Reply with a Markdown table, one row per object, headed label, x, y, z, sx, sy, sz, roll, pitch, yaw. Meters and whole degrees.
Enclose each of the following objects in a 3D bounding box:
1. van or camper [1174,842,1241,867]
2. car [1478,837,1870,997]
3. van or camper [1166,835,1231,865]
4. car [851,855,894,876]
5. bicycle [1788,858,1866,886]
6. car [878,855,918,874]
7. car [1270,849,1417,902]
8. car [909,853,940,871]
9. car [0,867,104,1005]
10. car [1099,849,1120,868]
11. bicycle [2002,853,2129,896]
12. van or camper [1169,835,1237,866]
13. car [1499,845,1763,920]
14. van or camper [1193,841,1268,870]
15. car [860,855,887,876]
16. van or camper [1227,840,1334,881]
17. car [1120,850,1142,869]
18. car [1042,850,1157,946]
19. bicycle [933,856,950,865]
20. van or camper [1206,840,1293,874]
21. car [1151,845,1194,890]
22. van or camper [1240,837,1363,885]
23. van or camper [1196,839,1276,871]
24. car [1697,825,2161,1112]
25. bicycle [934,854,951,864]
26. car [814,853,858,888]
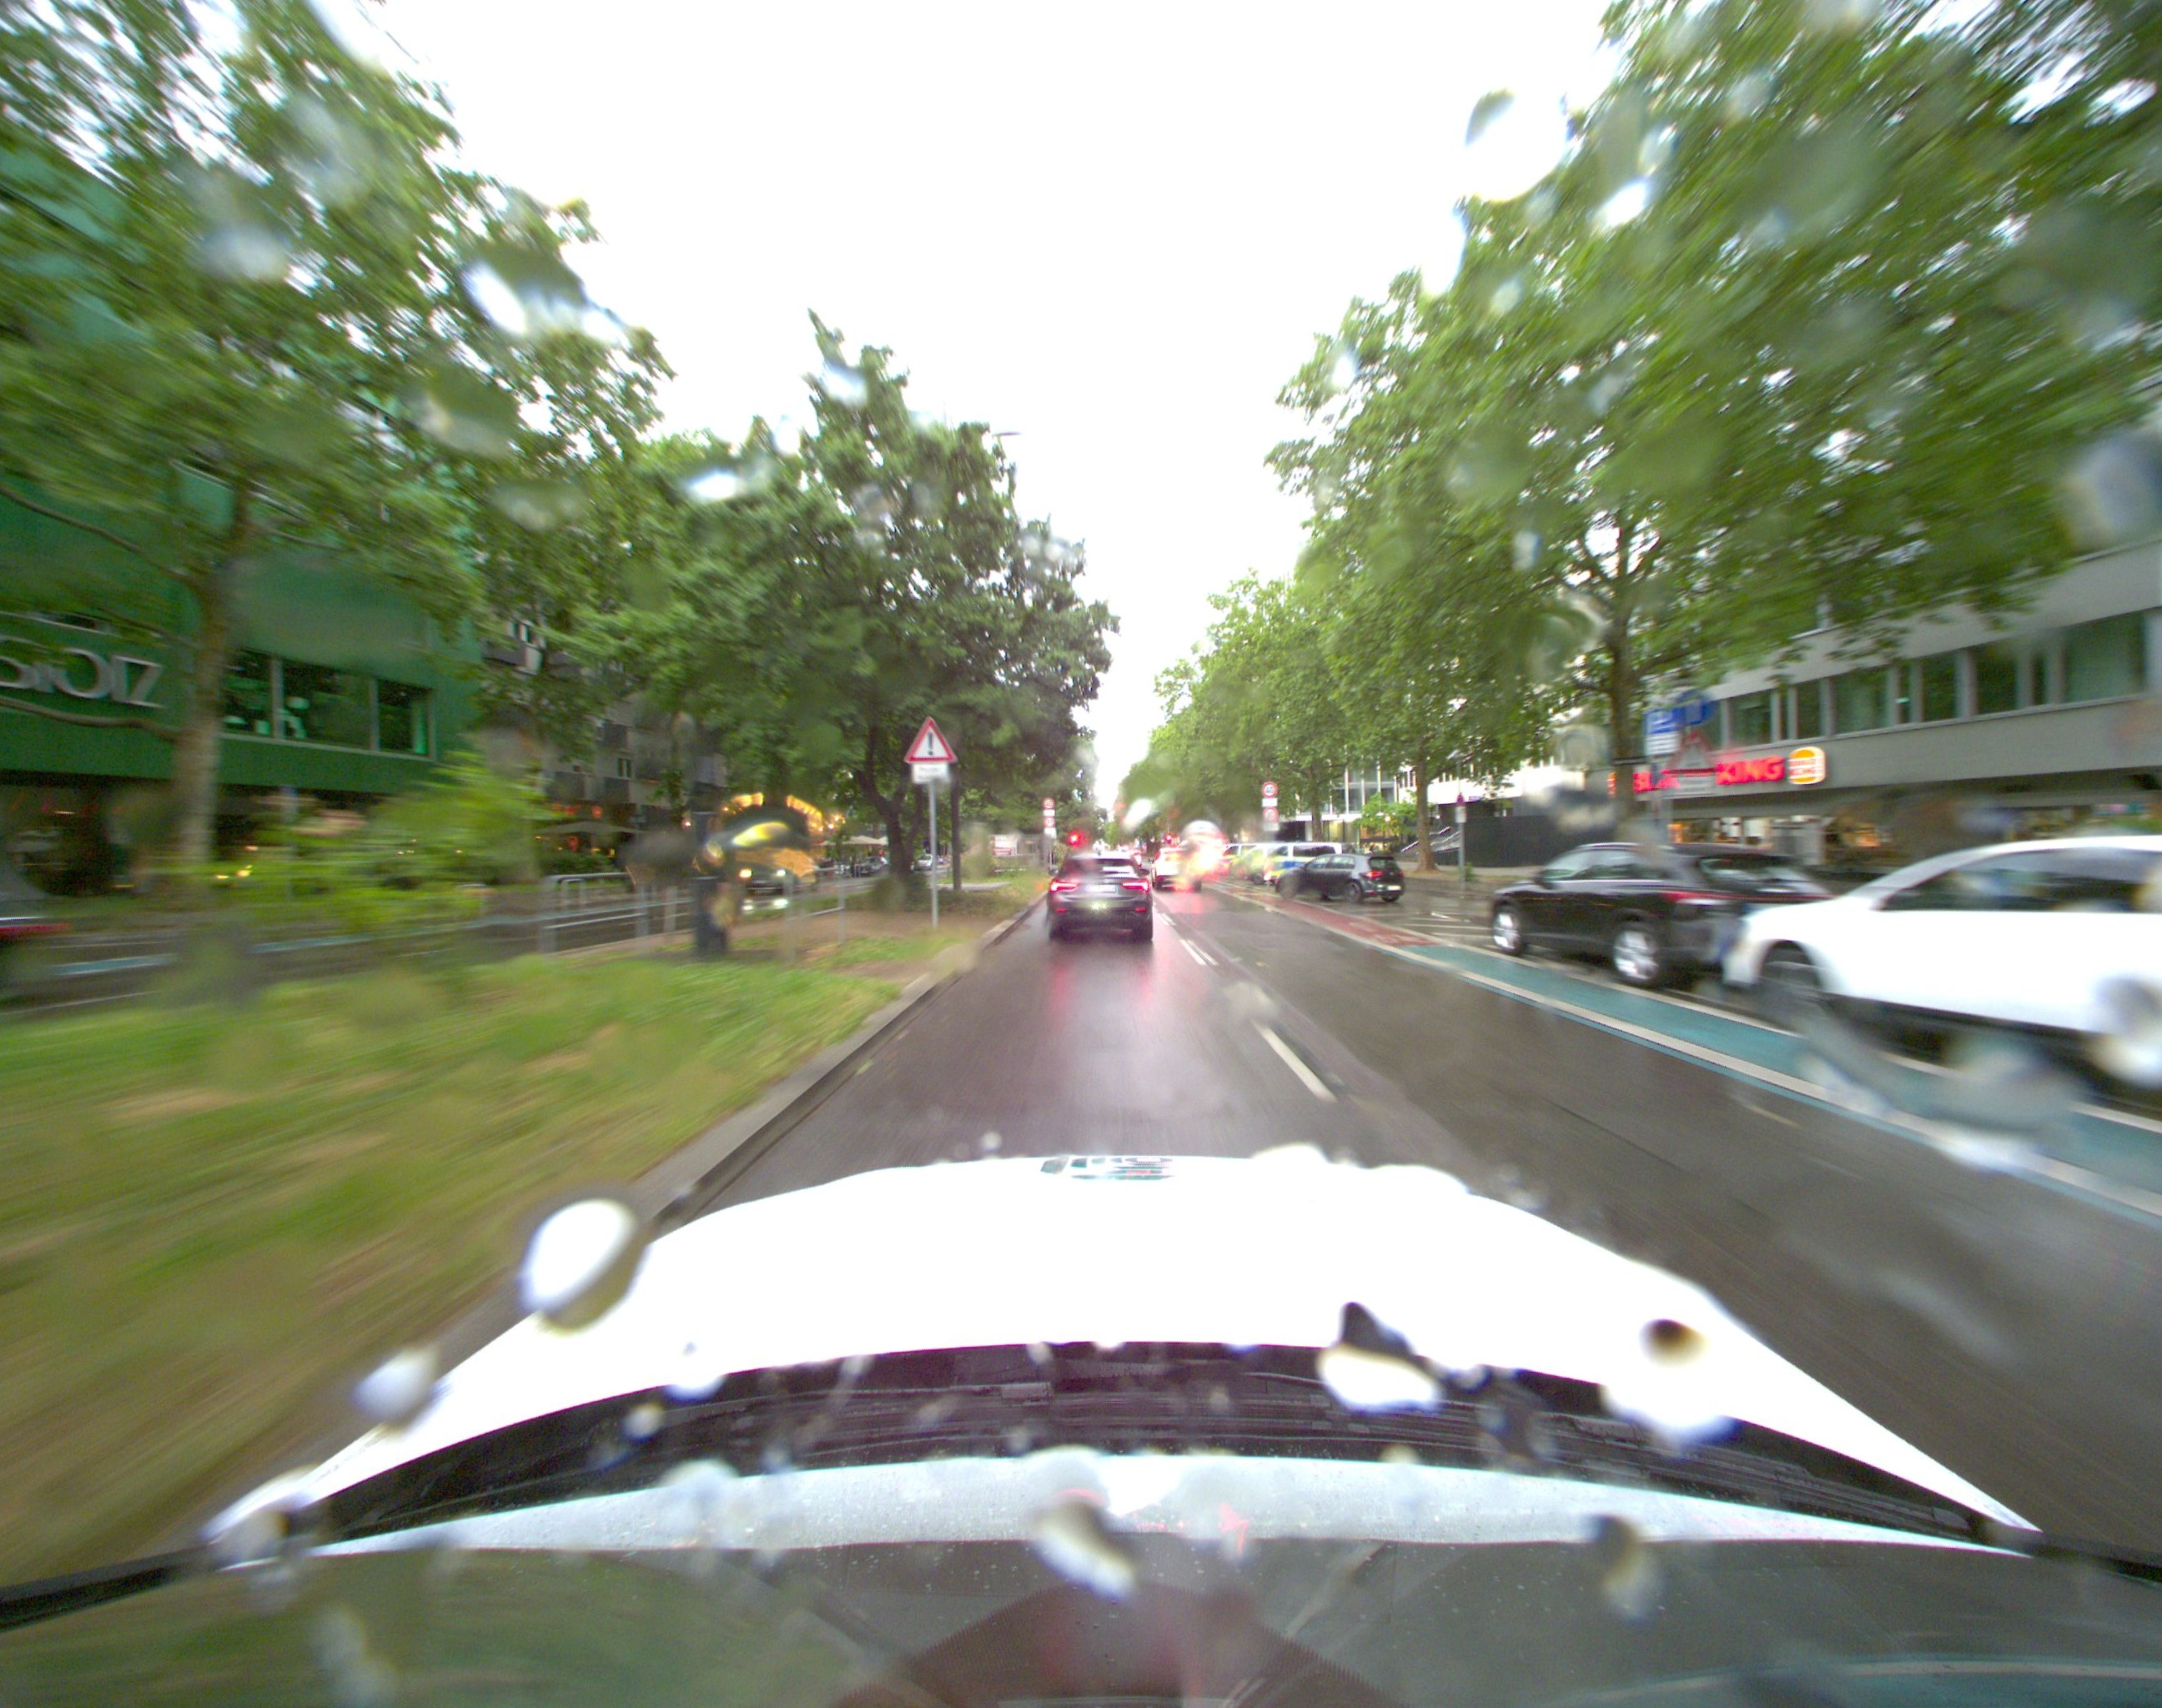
| label | x | y | z | sx | sy | sz | roll | pitch | yaw |
| --- | --- | --- | --- | --- | --- | --- | --- | --- | --- |
| van or camper | 10.391 | 0.078 | 67.220 | 5.142 | 1.992 | 2.013 | 0 | -1 | 36 |
| car | 7.019 | 0.623 | 10.362 | 1.787 | 1.603 | 4.423 | 0 | 0 | 0 |
| van or camper | 11.092 | -0.360 | 77.281 | 5.741 | 2.677 | 2.161 | -1 | 0 | 39 |
| car | -14.771 | 0.812 | 57.913 | 1.818 | 1.394 | 4.485 | -1 | 0 | 2 |
| bicycle | 24.031 | 0.562 | 26.285 | 0.640 | 0.819 | 1.909 | -1 | 0 | -7 |
| car | -14.519 | 0.802 | 64.885 | 1.986 | 1.370 | 4.541 | 1 | 0 | 1 |
| car | 7.737 | 0.599 | 24.340 | 1.777 | 1.413 | 3.959 | -2 | 0 | -32 |
| car | -14.425 | 0.715 | 75.415 | 1.987 | 1.509 | 4.516 | -2 | 0 | -1 |
| car | -12.893 | 0.923 | 7.460 | 1.985 | 1.491 | 4.761 | 0 | 0 | 3 |
| car | 2.375 | 0.369 | 69.286 | 1.715 | 1.577 | 3.962 | -1 | 0 | 1 |
| bicycle | 24.037 | 0.477 | 19.940 | 0.581 | 0.895 | 2.076 | -3 | 2 | -1 |
| van or camper | 10.996 | -0.292 | 73.831 | 5.736 | 2.680 | 2.013 | -1 | 0 | 36 |
| car | 11.932 | 0.600 | 17.937 | 1.876 | 1.445 | 4.458 | 4 | -2 | -37 |
| van or camper | 10.982 | 0.117 | 60.044 | 5.042 | 2.025 | 2.119 | -1 | 0 | 39 |
| car | -14.528 | 0.797 | 57.085 | 1.046 | 1.387 | 2.695 | -2 | 0 | 2 |
| van or camper | 10.318 | 0.289 | 42.367 | 5.023 | 2.019 | 2.010 | 0 | 0 | 38 |
| car | 4.737 | 0.485 | 77.451 | 1.986 | 1.750 | 4.002 | -1 | 0 | 2 |
| car | 0.406 | 0.706 | 15.620 | 1.856 | 1.532 | 4.530 | -1 | 0 | 3 |
| bicycle | -15.930 | 0.776 | 92.886 | 1.839 | 0.979 | 0.565 | -1 | 0 | -2 |
| van or camper | 10.196 | 0.189 | 49.485 | 4.792 | 1.998 | 1.880 | -1 | 0 | 38 |
| car | 3.634 | 0.489 | 32.627 | 1.428 | 1.685 | 2.980 | -2 | 0 | 2 |
| van or camper | 9.691 | 0.295 | 36.017 | 4.884 | 1.992 | 2.015 | 0 | 0 | 39 |
| van or camper | 10.124 | 0.102 | 53.320 | 4.733 | 2.011 | 2.013 | -1 | 0 | 37 |
| car | 6.784 | 0.620 | 5.520 | 1.747 | 1.585 | 4.405 | 0 | 0 | -3 |
| bicycle | -15.901 | 0.588 | 93.484 | 1.842 | 1.098 | 0.613 | -1 | 0 | -7 |
| car | -12.188 | 0.755 | 40.711 | 1.720 | 1.626 | 4.423 | -1 | 0 | -12 |
